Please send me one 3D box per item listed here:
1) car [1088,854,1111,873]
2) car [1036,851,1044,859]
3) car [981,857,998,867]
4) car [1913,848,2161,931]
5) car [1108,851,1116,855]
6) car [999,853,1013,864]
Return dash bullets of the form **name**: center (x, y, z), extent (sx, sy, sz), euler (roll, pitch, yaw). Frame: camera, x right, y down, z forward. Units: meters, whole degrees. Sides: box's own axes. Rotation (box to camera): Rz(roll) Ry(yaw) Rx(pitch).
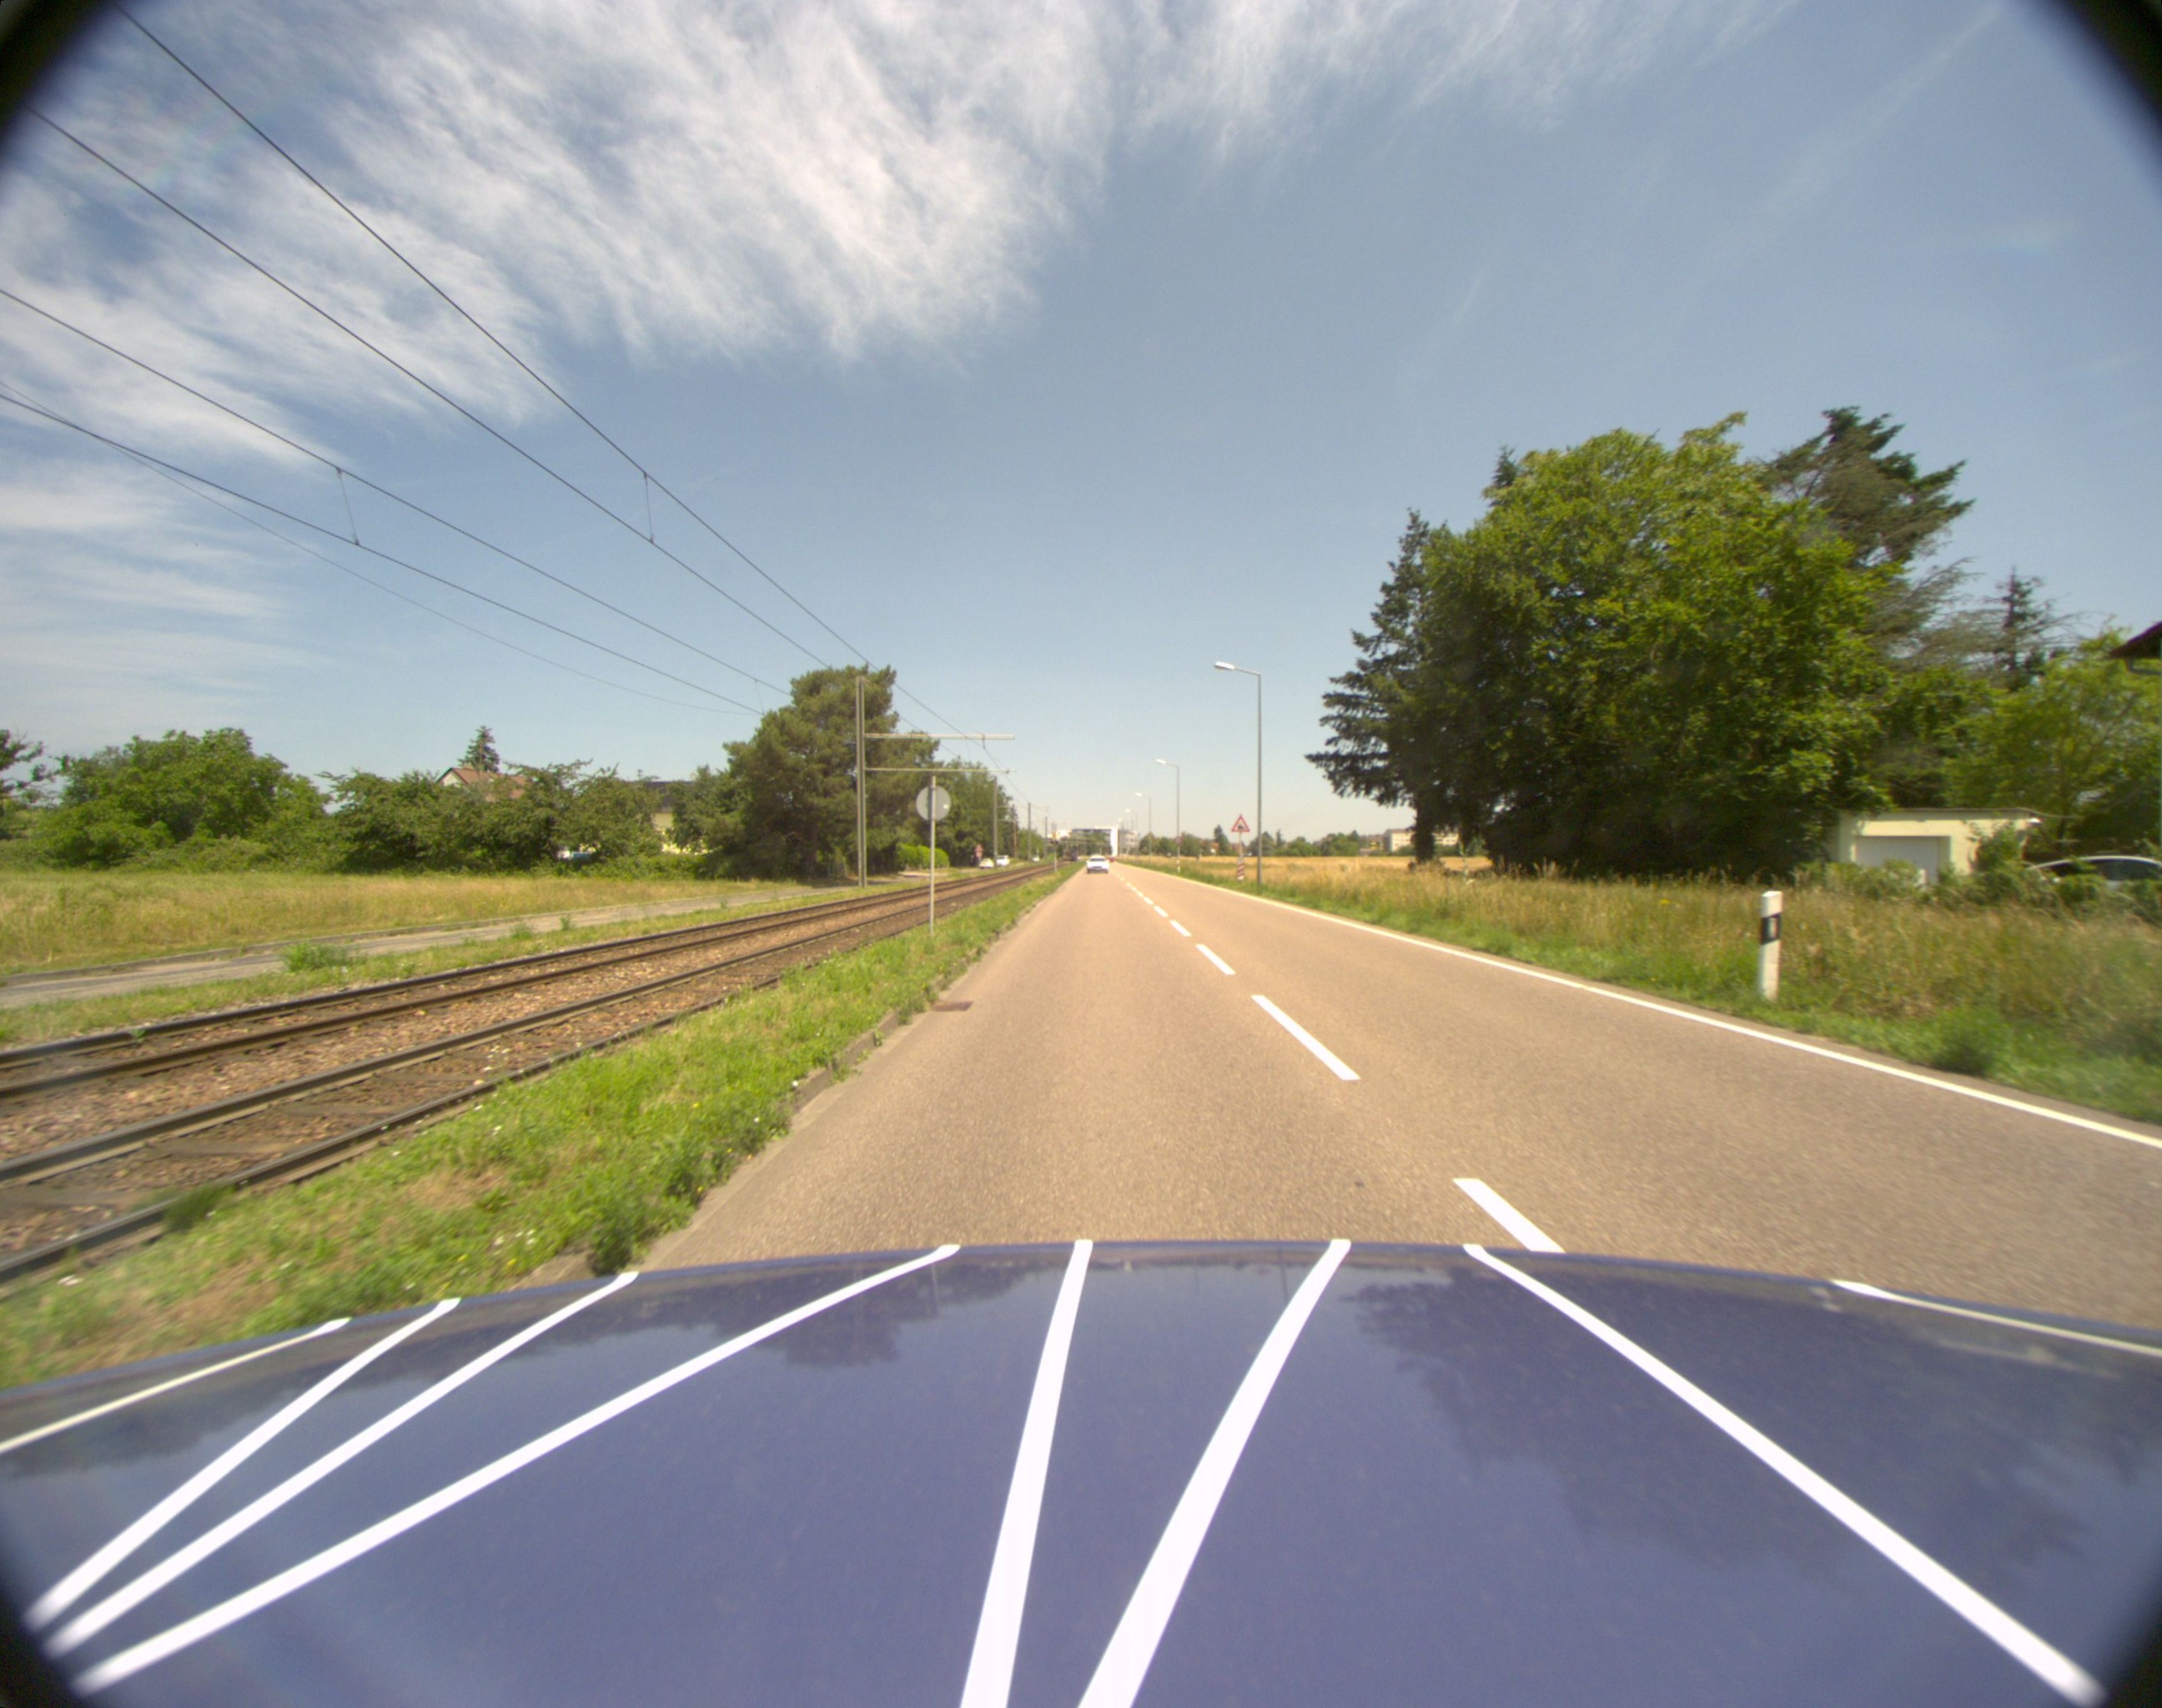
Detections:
- **car**: center (1.529, 0.773, 64.084), extent (1.856, 1.447, 3.706), euler (-1, 0, 1)
- **car**: center (-11.436, 0.349, 211.143), extent (1.944, 2.111, 4.587), euler (-1, 0, 2)
- **car**: center (-13.613, 1.124, 113.356), extent (1.922, 1.376, 4.000), euler (-1, 0, 2)
- **car**: center (20.593, 0.633, 15.957), extent (1.710, 1.483, 4.186), euler (-2, 0, 1)
- **car**: center (9.404, -0.223, 231.407), extent (2.253, 1.254, 3.890), euler (-2, 0, 2)
- **car**: center (-13.070, 0.722, 133.230), extent (1.863, 1.816, 4.587), euler (-1, 0, 2)
